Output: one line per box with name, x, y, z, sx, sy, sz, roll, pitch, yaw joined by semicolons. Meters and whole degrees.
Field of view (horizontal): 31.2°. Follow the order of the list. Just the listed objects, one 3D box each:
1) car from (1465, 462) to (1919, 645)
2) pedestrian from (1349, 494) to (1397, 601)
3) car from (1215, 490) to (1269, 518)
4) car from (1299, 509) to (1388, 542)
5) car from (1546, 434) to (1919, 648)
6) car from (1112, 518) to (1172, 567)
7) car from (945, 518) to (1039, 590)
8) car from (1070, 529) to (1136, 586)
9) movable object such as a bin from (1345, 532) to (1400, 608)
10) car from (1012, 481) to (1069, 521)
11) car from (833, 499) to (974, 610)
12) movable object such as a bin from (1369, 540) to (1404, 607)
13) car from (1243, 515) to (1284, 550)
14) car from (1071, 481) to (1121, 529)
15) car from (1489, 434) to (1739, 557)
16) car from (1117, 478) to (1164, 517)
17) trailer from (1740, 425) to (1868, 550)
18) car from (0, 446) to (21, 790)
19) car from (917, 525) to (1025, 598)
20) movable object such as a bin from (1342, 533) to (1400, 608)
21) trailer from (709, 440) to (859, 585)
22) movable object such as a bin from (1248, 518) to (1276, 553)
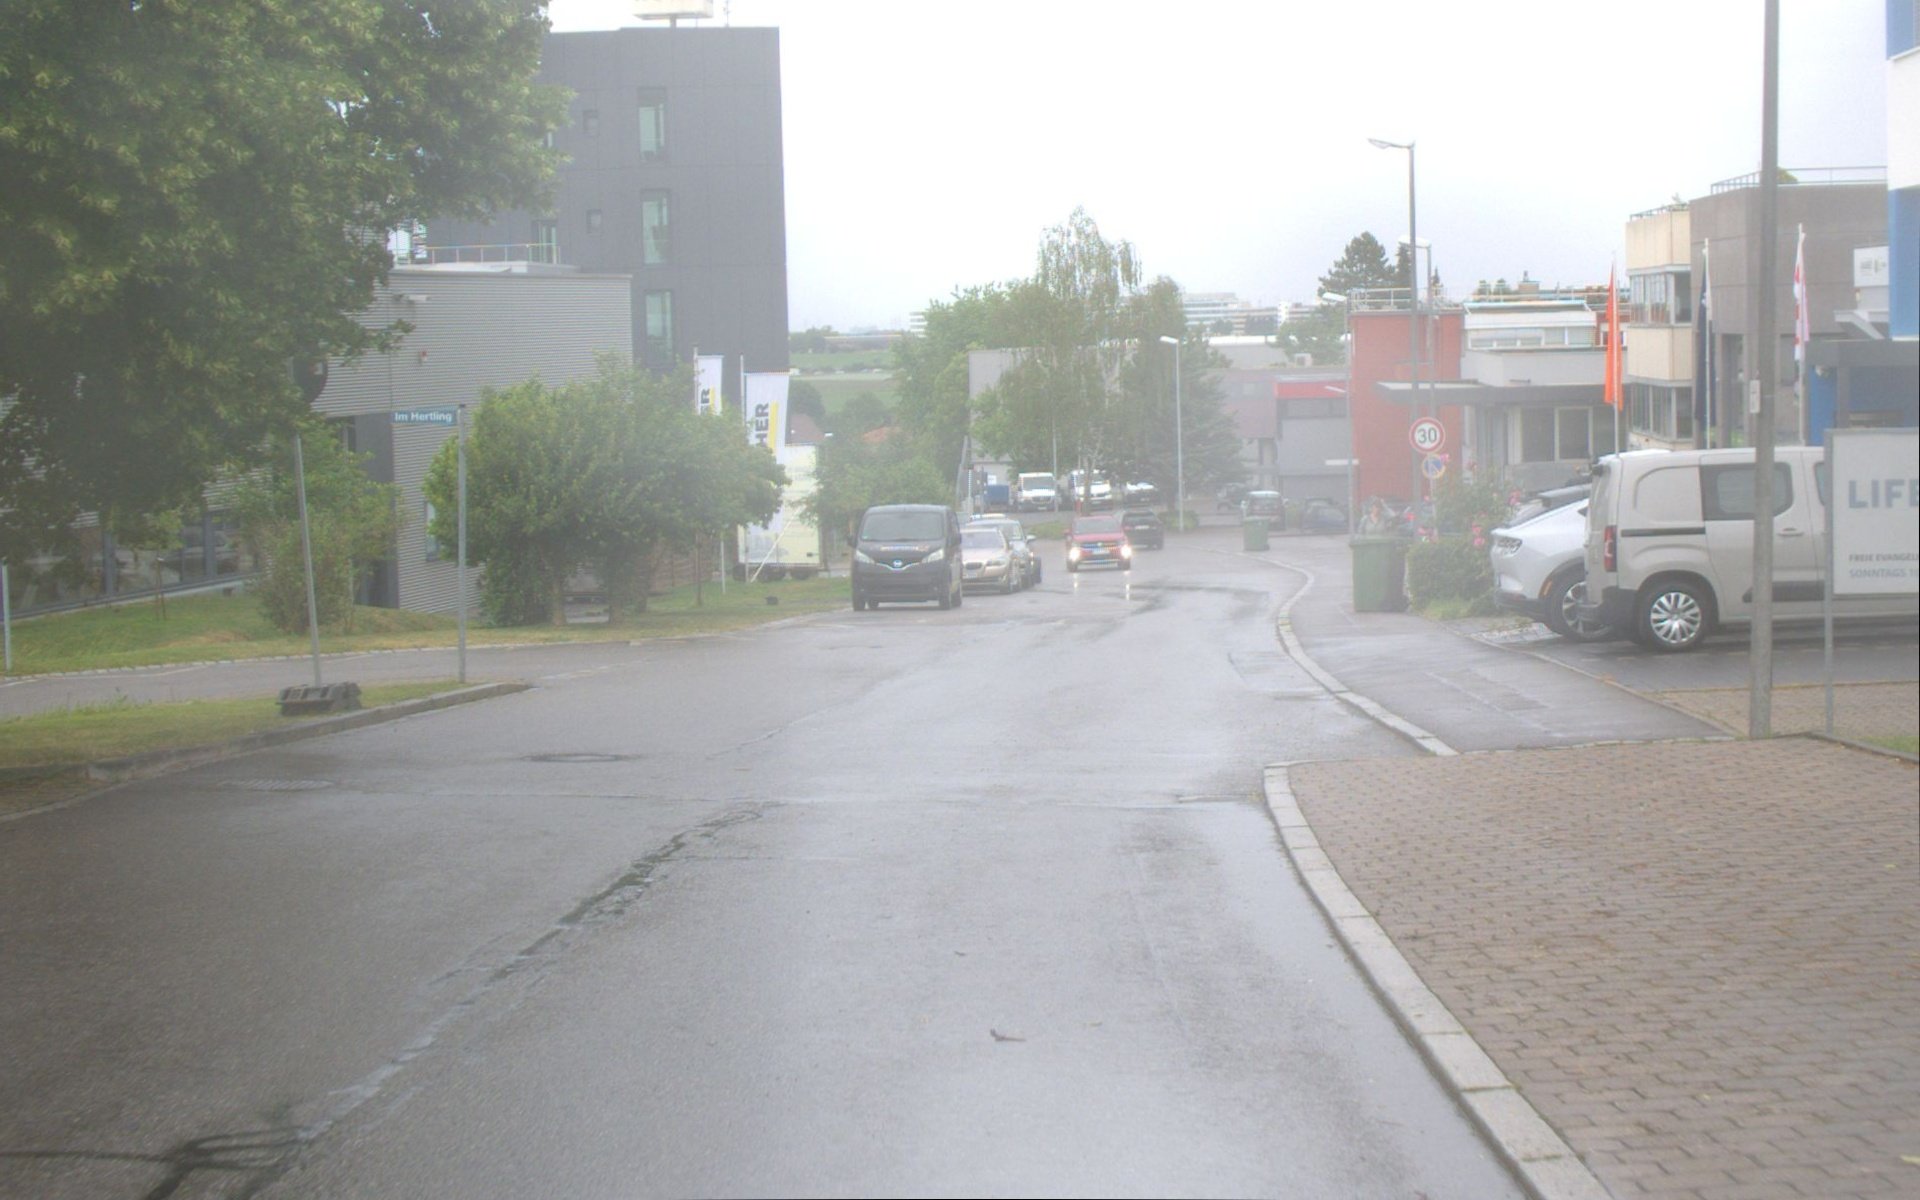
car;7.490;-0.482;34.390;4.597;1.533;2.079;-3;1;4
pedestrian;6.885;-0.872;57.378;0.737;1.761;0.808;-1;1;6
car;14.278;-4.871;174.148;2.547;1.347;1.242;-2;2;-1
car;14.956;-2.915;134.071;3.401;1.159;1.791;-2;2;6
car;7.681;-0.571;31.282;4.341;1.767;2.089;-2;1;3
car;6.564;-2.057;124.284;1.956;1.670;4.472;-2;0;1
car;0.794;-1.101;81.729;1.957;1.571;4.840;-3;1;3
car;4.151;-1.231;100.075;1.747;1.503;3.935;-4;0;1
movable object such as a bin;5.894;-0.435;49.140;0.743;1.063;0.636;-1;1;6
car;4.373;-5.405;187.319;2.264;2.007;4.001;-2;1;-11
car;-0.948;-0.822;60.783;1.916;1.825;4.847;-1;1;5
movable object such as a bin;6.201;-0.387;49.986;0.472;0.964;0.514;-1;1;6
car;13.411;-2.974;152.013;1.697;1.470;4.000;-2;1;4
car;7.414;-5.183;187.525;2.192;2.451;4.001;-2;1;-4
car;15.324;-2.433;80.781;5.299;2.006;2.221;-9;0;5
car;9.890;-5.607;188.331;2.145;2.007;3.940;-2;1;-2
trailer;17.207;-2.316;70.250;1.887;2.408;4.308;-2;2;6
car;-7.525;0.178;18.545;4.301;1.899;1.861;-2;1;7
car;0.273;-0.866;75.377;1.956;1.456;5.247;-2;1;4
movable object such as a bin;5.787;-0.425;48.412;0.772;1.026;0.808;-1;1;6
trailer;-5.340;-2.635;104.097;4.183;4.188;2.001;-1;1;43
movable object such as a bin;9.813;-2.088;111.809;0.806;1.089;0.709;-2;2;-1
